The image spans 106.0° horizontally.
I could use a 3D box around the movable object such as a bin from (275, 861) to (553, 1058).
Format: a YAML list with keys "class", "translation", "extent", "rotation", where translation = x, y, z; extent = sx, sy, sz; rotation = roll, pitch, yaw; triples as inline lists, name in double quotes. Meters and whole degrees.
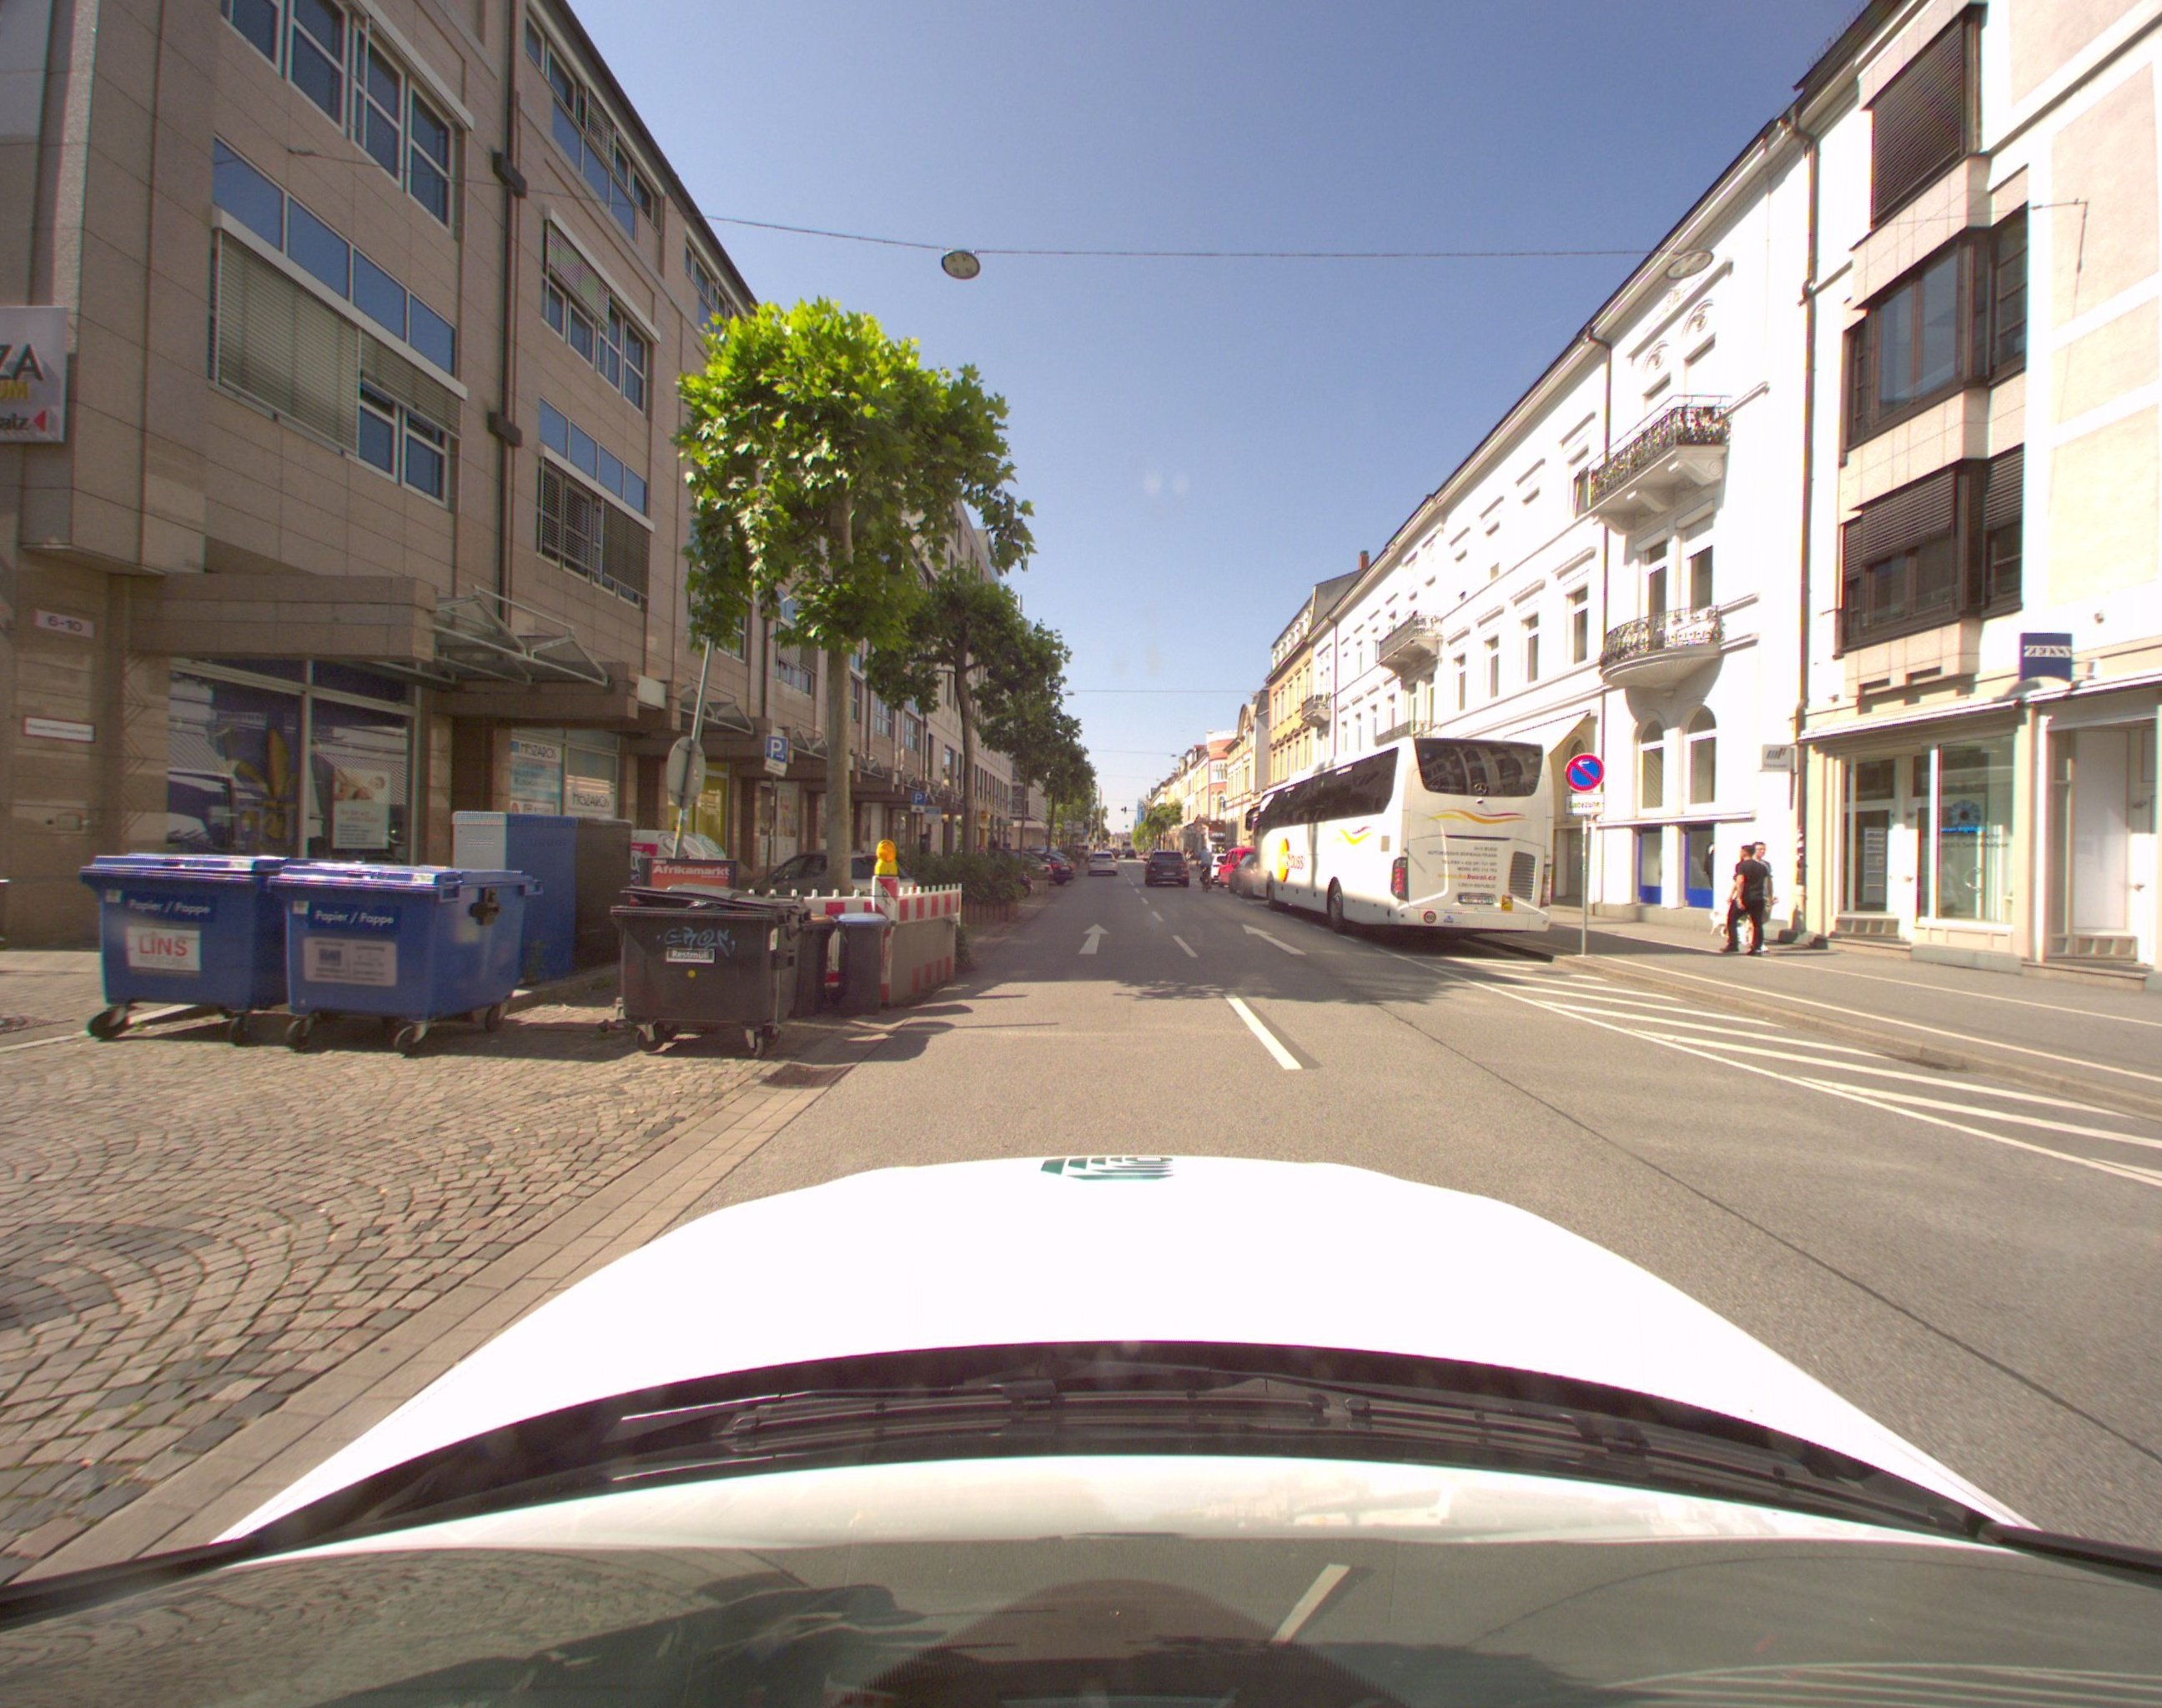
- class: "movable object such as a bin"
  translation: [-5.049, 0.748, 6.272]
  extent: [1.204, 1.299, 1.080]
  rotation: [3, 1, 2]

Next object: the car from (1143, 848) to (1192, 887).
- class: "car"
  translation: [3.689, 0.555, 35.369]
  extent: [1.826, 1.527, 4.002]
  rotation: [1, 0, 2]

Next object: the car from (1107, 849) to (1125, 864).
- class: "car"
  translation: [3.528, 0.220, 82.998]
  extent: [1.736, 1.441, 4.002]
  rotation: [1, 0, 2]

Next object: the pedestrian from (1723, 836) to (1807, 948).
- class: "pedestrian"
  translation: [11.301, 0.616, 13.489]
  extent: [0.570, 1.778, 1.021]
  rotation: [1, -2, 5]

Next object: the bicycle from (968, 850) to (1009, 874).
- class: "bicycle"
  translation: [-4.821, 0.417, 42.646]
  extent: [2.062, 1.130, 0.463]
  rotation: [3, -1, -6]

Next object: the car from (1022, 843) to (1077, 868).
- class: "car"
  translation: [-2.555, 0.129, 65.373]
  extent: [3.951, 1.568, 1.710]
  rotation: [6, 1, 27]

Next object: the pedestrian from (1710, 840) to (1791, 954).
- class: "pedestrian"
  translation: [10.539, 0.655, 12.848]
  extent: [0.617, 1.720, 0.836]
  rotation: [1, 0, 4]

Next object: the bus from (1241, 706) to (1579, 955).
- class: "bus"
  translation: [6.334, -0.388, 18.857]
  extent: [2.871, 3.742, 12.428]
  rotation: [3, 0, 1]

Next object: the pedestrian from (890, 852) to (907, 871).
- class: "pedestrian"
  translation: [-8.776, 0.360, 39.130]
  extent: [0.563, 0.809, 0.775]
  rotation: [6, 0, 2]

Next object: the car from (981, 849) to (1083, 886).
- class: "car"
  translation: [-2.326, 0.586, 37.600]
  extent: [4.737, 1.422, 1.894]
  rotation: [3, 1, 42]

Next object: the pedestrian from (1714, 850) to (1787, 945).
- class: "pedestrian"
  translation: [11.859, 0.760, 14.445]
  extent: [0.642, 1.617, 0.823]
  rotation: [1, -2, 5]

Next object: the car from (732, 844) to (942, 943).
- class: "car"
  translation: [-4.601, 0.616, 15.089]
  extent: [4.007, 1.494, 1.947]
  rotation: [2, 1, 43]

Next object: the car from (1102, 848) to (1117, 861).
- class: "car"
  translation: [3.279, 0.058, 94.511]
  extent: [1.736, 1.441, 4.002]
  rotation: [1, 0, 2]

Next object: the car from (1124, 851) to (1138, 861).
- class: "car"
  translation: [7.395, 0.351, 121.277]
  extent: [1.856, 1.441, 4.001]
  rotation: [1, 0, 1]

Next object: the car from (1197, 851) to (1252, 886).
- class: "car"
  translation: [7.005, 0.675, 40.233]
  extent: [1.807, 1.466, 4.579]
  rotation: [2, 1, -1]

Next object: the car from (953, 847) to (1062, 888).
- class: "car"
  translation: [-3.199, 0.539, 34.649]
  extent: [4.698, 1.533, 2.002]
  rotation: [2, 1, 44]

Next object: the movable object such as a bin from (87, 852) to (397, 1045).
- class: "movable object such as a bin"
  translation: [-6.437, 0.669, 6.348]
  extent: [1.204, 1.299, 1.128]
  rotation: [2, 1, 2]

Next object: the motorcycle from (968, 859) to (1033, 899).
- class: "motorcycle"
  translation: [-2.574, 0.780, 26.069]
  extent: [1.893, 1.170, 0.732]
  rotation: [2, 1, 22]

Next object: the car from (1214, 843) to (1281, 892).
- class: "car"
  translation: [7.017, 0.515, 34.770]
  extent: [1.822, 1.863, 4.352]
  rotation: [2, 1, -2]

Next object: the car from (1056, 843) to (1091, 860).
- class: "car"
  translation: [-1.048, -0.383, 112.568]
  extent: [4.666, 2.003, 1.953]
  rotation: [5, 0, 42]

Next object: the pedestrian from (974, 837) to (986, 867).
- class: "pedestrian"
  translation: [-5.474, -0.112, 44.238]
  extent: [0.564, 1.657, 0.635]
  rotation: [0, 0, -4]

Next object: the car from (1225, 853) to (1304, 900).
- class: "car"
  translation: [6.465, 0.731, 29.241]
  extent: [1.851, 1.469, 5.229]
  rotation: [2, 0, 3]

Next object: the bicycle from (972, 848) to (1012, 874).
- class: "bicycle"
  translation: [-4.826, 0.370, 44.089]
  extent: [2.062, 1.288, 0.367]
  rotation: [3, -1, -6]

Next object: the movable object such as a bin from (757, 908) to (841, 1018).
- class: "movable object such as a bin"
  translation: [-2.645, 1.008, 7.669]
  extent: [0.495, 0.939, 0.558]
  rotation: [-1, 1, 18]

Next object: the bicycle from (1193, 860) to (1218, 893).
- class: "bicycle"
  translation: [4.733, 0.829, 31.151]
  extent: [0.662, 1.120, 2.245]
  rotation: [3, 1, 2]

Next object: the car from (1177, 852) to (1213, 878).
- class: "car"
  translation: [7.022, 0.634, 50.283]
  extent: [1.815, 1.409, 3.188]
  rotation: [3, 1, 2]

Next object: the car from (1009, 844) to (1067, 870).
- class: "car"
  translation: [-3.079, 0.188, 58.988]
  extent: [3.977, 1.500, 1.716]
  rotation: [5, 0, -2]

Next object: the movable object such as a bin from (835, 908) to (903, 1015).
- class: "movable object such as a bin"
  translation: [-2.061, 1.020, 7.902]
  extent: [0.556, 0.939, 0.496]
  rotation: [-1, 1, -24]

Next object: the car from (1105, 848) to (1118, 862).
- class: "car"
  translation: [4.515, 0.172, 122.302]
  extent: [1.856, 2.030, 4.001]
  rotation: [1, -1, 1]

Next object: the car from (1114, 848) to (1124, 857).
- class: "car"
  translation: [8.160, -0.319, 175.026]
  extent: [1.856, 1.849, 4.000]
  rotation: [0, -2, 1]

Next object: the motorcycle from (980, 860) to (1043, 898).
- class: "motorcycle"
  translation: [-2.289, 0.799, 26.768]
  extent: [1.893, 1.170, 0.764]
  rotation: [2, 1, 22]

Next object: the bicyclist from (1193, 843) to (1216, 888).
- class: "bicyclist"
  translation: [4.718, 0.419, 31.182]
  extent: [0.691, 1.673, 0.916]
  rotation: [3, 1, 3]

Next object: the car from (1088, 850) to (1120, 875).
- class: "car"
  translation: [1.331, 0.488, 49.496]
  extent: [1.857, 1.441, 4.000]
  rotation: [0, 1, 0]

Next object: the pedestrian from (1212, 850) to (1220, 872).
- class: "pedestrian"
  translation: [11.569, 0.583, 69.773]
  extent: [0.649, 1.809, 0.730]
  rotation: [1, 0, 5]

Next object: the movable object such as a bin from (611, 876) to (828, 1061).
- class: "movable object such as a bin"
  translation: [-2.783, 0.845, 6.388]
  extent: [1.272, 1.299, 0.854]
  rotation: [1, 0, 2]

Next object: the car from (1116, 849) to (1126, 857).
- class: "car"
  translation: [7.778, -0.170, 158.599]
  extent: [1.856, 1.441, 4.000]
  rotation: [0, -2, 1]

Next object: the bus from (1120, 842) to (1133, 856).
- class: "bus"
  translation: [11.789, -1.384, 212.748]
  extent: [2.762, 3.605, 8.970]
  rotation: [0, 0, -1]
